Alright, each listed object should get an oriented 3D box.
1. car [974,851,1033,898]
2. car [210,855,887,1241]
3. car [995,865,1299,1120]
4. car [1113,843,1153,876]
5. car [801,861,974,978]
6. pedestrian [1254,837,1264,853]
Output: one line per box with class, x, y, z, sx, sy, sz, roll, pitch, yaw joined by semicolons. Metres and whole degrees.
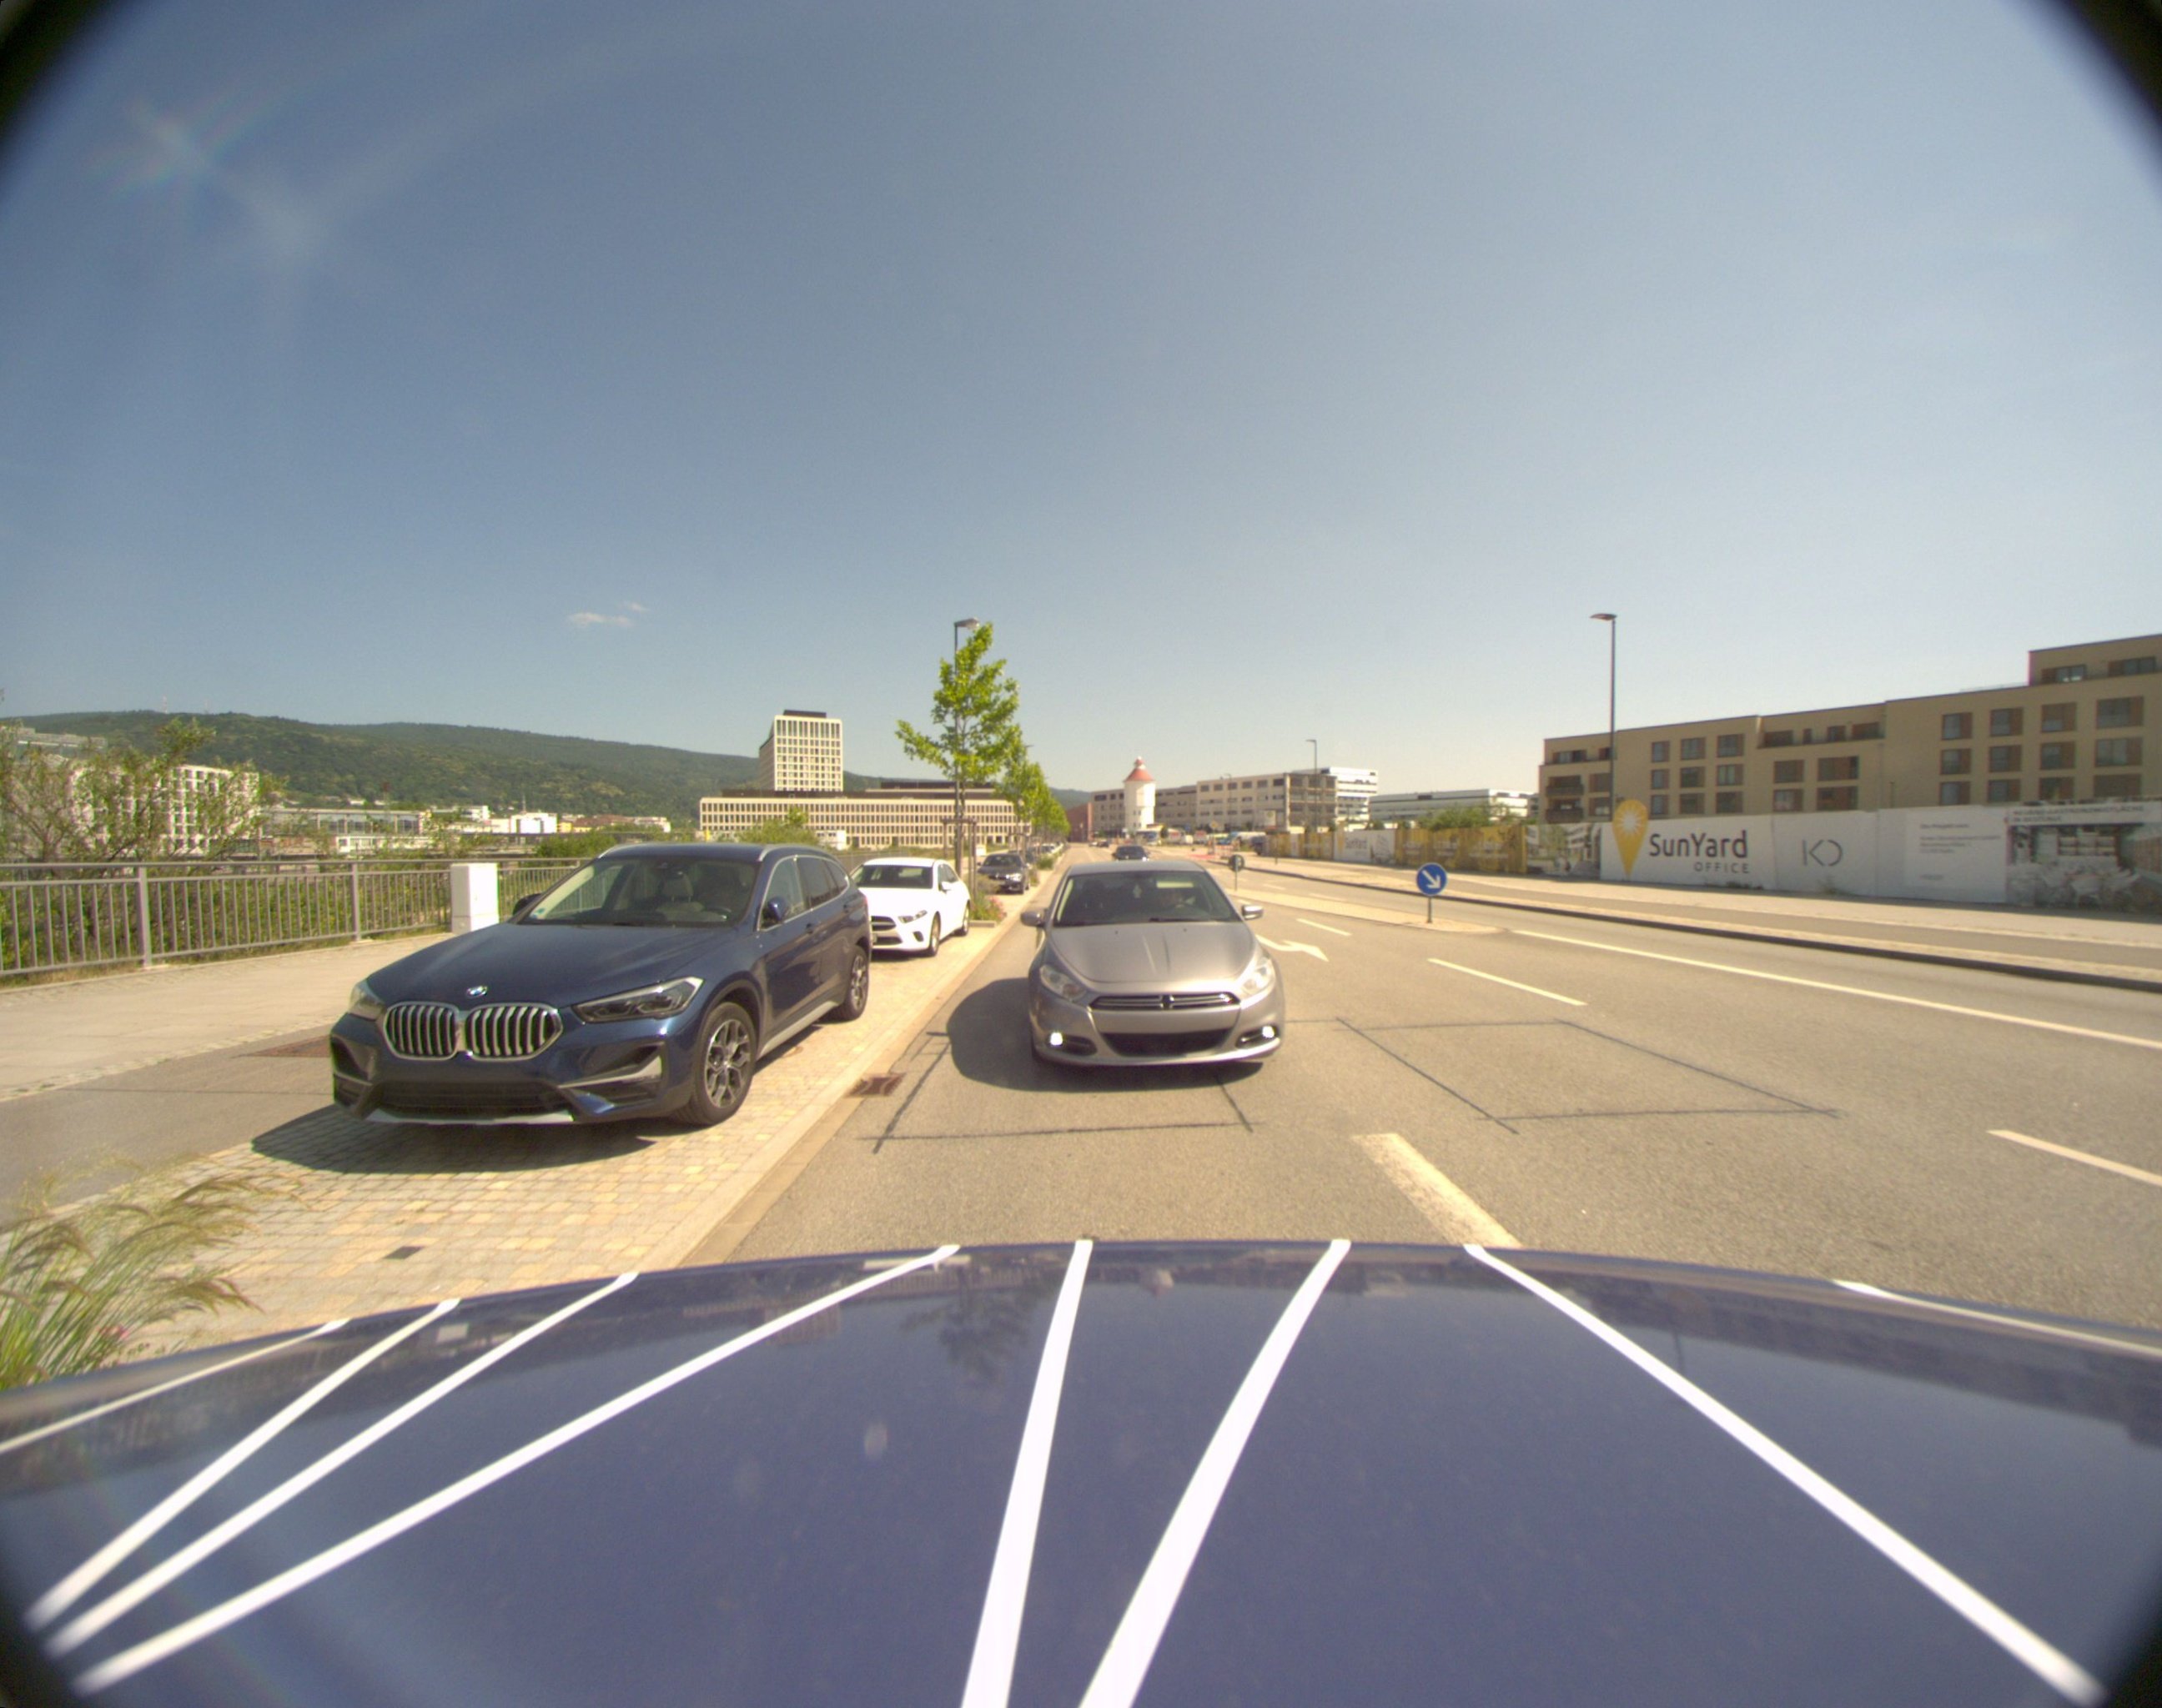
car;-2.760;0.683;27.940;1.664;1.529;3.999;-2;1;1
car;-2.885;0.864;5.467;1.769;1.598;4.238;-2;1;1
car;0.427;0.874;6.663;1.784;1.372;4.135;-2;1;1
car;2.746;0.239;40.948;1.806;1.632;4.365;-2;1;1
car;-2.891;0.902;12.256;1.664;1.447;3.999;-2;1;1
pedestrian;18.225;-0.946;77.801;0.705;1.577;0.617;-3;1;-36
